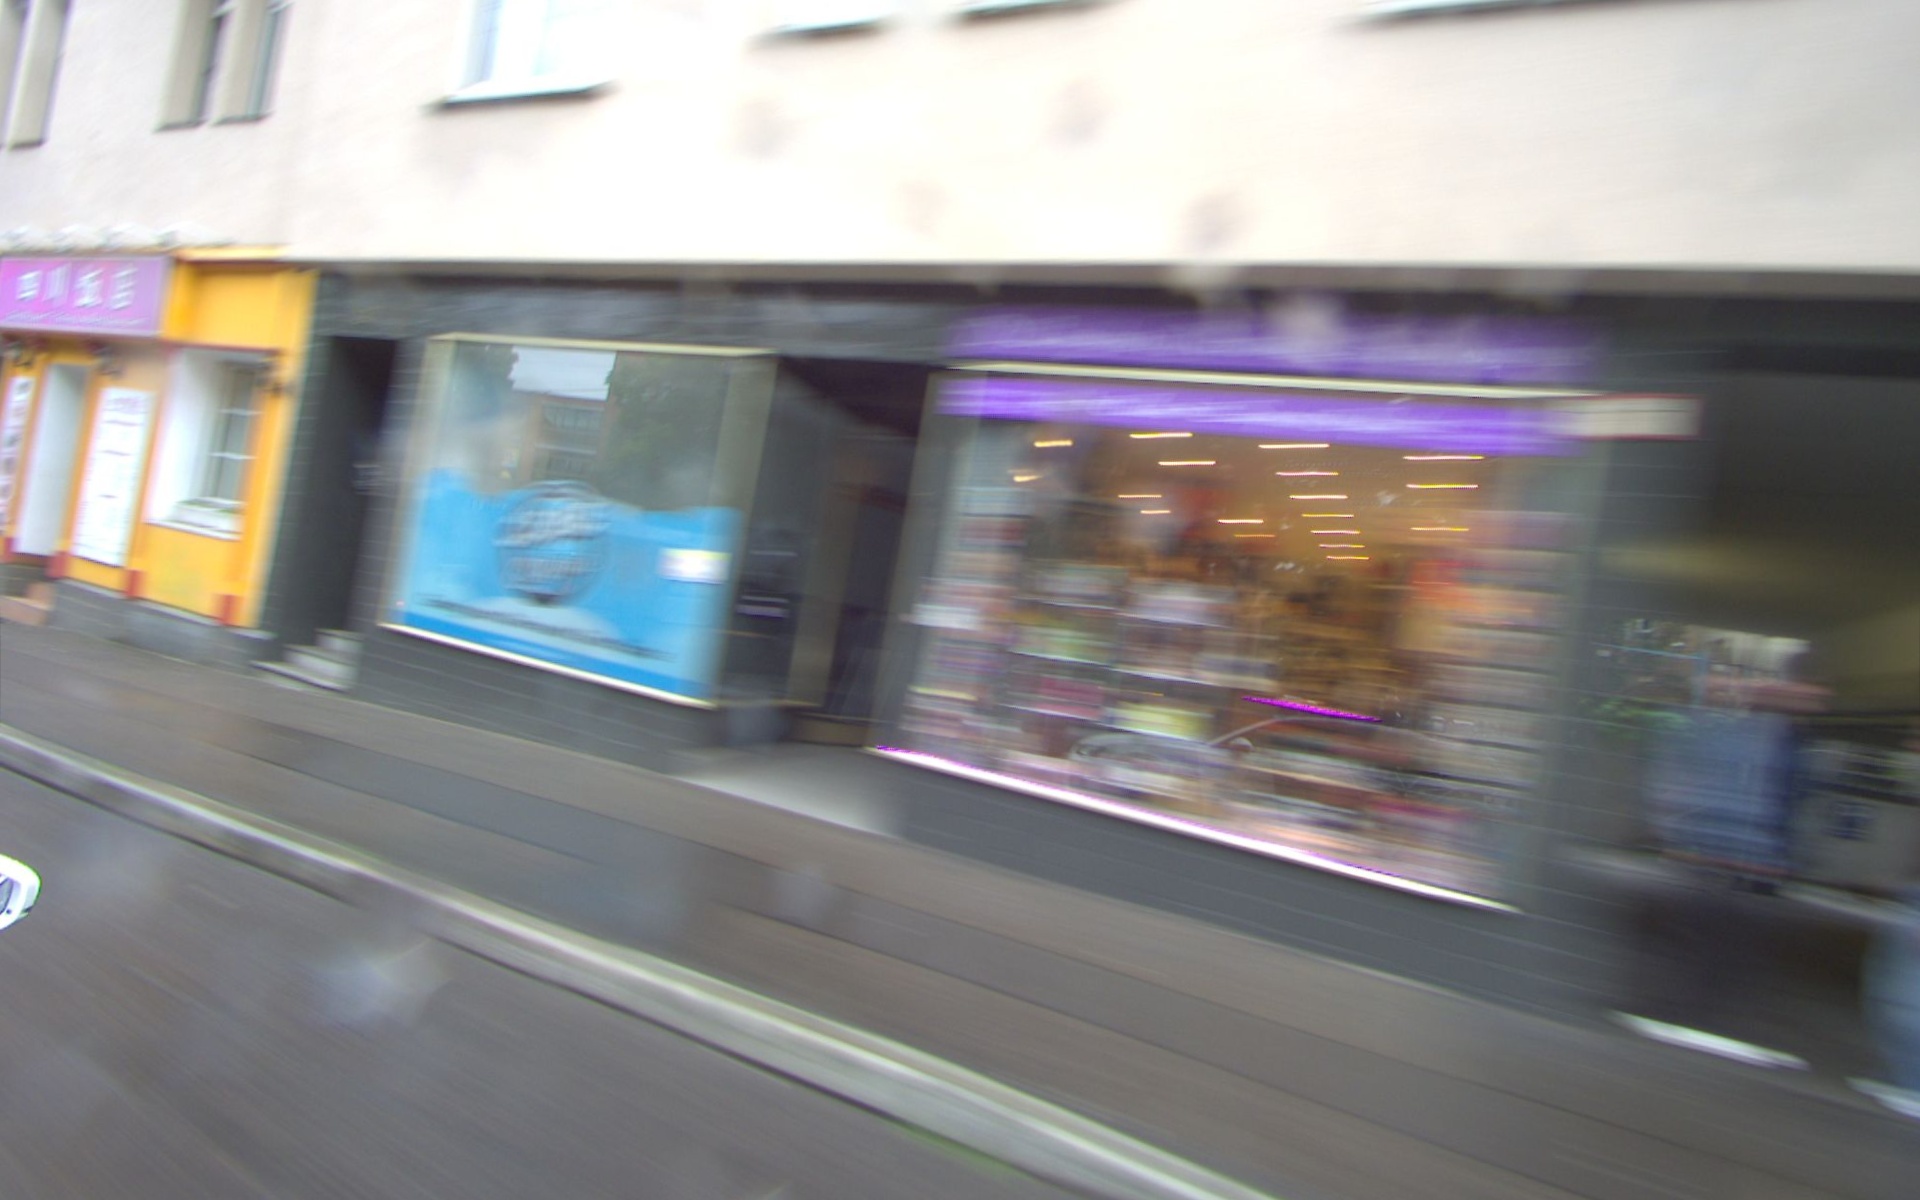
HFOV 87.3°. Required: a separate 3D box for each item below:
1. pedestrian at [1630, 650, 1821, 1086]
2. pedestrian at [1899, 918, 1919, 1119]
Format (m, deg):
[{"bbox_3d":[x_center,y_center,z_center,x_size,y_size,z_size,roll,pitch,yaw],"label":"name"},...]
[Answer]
[{"bbox_3d":[3.377,1.134,4.478,0.508,1.739,0.462,6,-3,35],"label":"pedestrian"},{"bbox_3d":[4.109,1.274,3.981,0.325,1.663,0.482,7,-2,30],"label":"pedestrian"}]
